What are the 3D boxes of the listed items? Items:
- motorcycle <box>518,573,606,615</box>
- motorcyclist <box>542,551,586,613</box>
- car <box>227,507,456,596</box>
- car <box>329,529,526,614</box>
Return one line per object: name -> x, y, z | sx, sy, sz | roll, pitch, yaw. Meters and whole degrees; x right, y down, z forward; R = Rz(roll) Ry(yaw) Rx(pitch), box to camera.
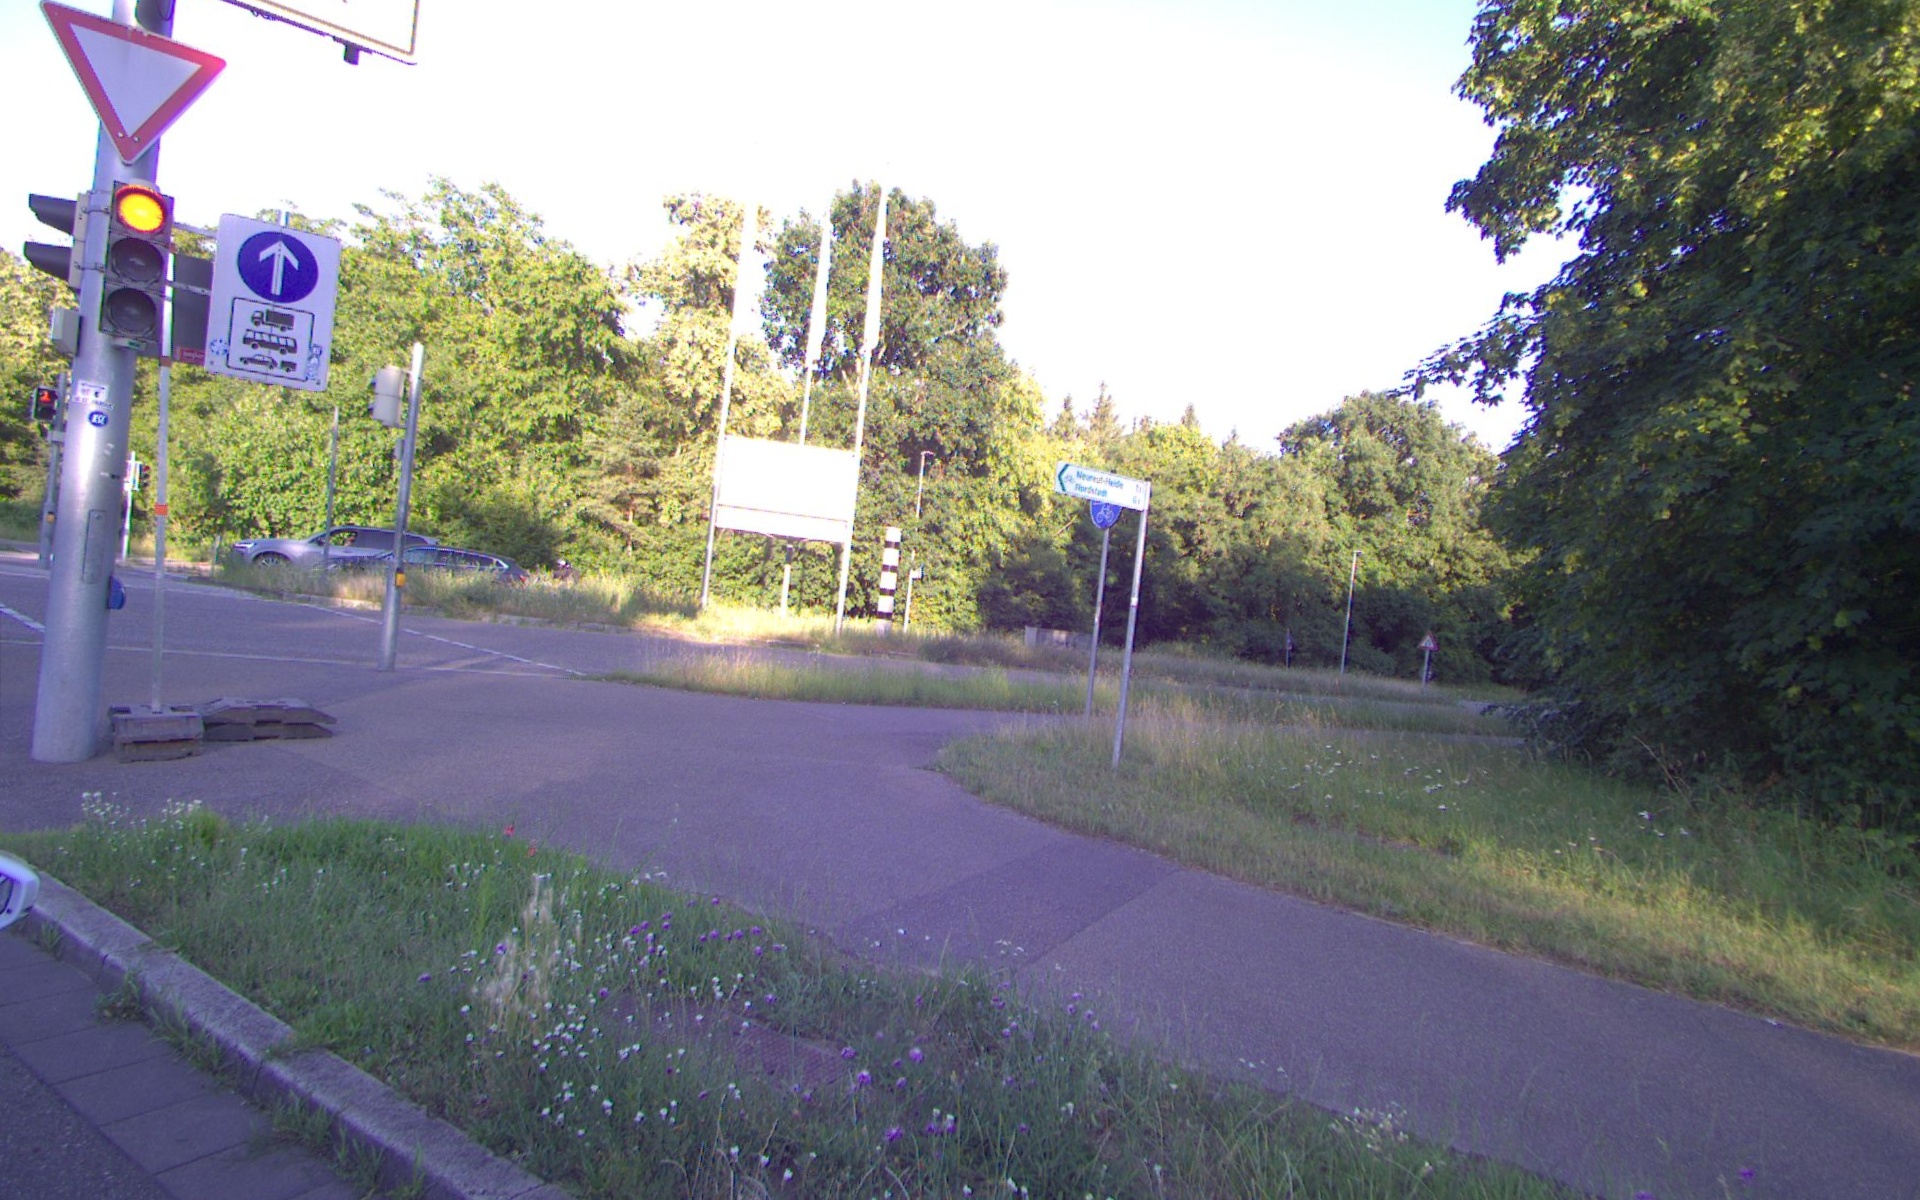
motorcycle -> -11.149, -0.153, 28.213 | 2.133, 0.921, 0.655 | 7, 0, -37
motorcyclist -> -11.102, -0.493, 28.207 | 0.881, 1.614, 0.648 | 6, 0, -37
car -> -15.915, -1.206, 26.001 | 4.790, 1.618, 1.980 | 7, 0, -37
car -> -12.618, -0.657, 23.918 | 3.840, 1.507, 1.754 | 7, -1, -36
